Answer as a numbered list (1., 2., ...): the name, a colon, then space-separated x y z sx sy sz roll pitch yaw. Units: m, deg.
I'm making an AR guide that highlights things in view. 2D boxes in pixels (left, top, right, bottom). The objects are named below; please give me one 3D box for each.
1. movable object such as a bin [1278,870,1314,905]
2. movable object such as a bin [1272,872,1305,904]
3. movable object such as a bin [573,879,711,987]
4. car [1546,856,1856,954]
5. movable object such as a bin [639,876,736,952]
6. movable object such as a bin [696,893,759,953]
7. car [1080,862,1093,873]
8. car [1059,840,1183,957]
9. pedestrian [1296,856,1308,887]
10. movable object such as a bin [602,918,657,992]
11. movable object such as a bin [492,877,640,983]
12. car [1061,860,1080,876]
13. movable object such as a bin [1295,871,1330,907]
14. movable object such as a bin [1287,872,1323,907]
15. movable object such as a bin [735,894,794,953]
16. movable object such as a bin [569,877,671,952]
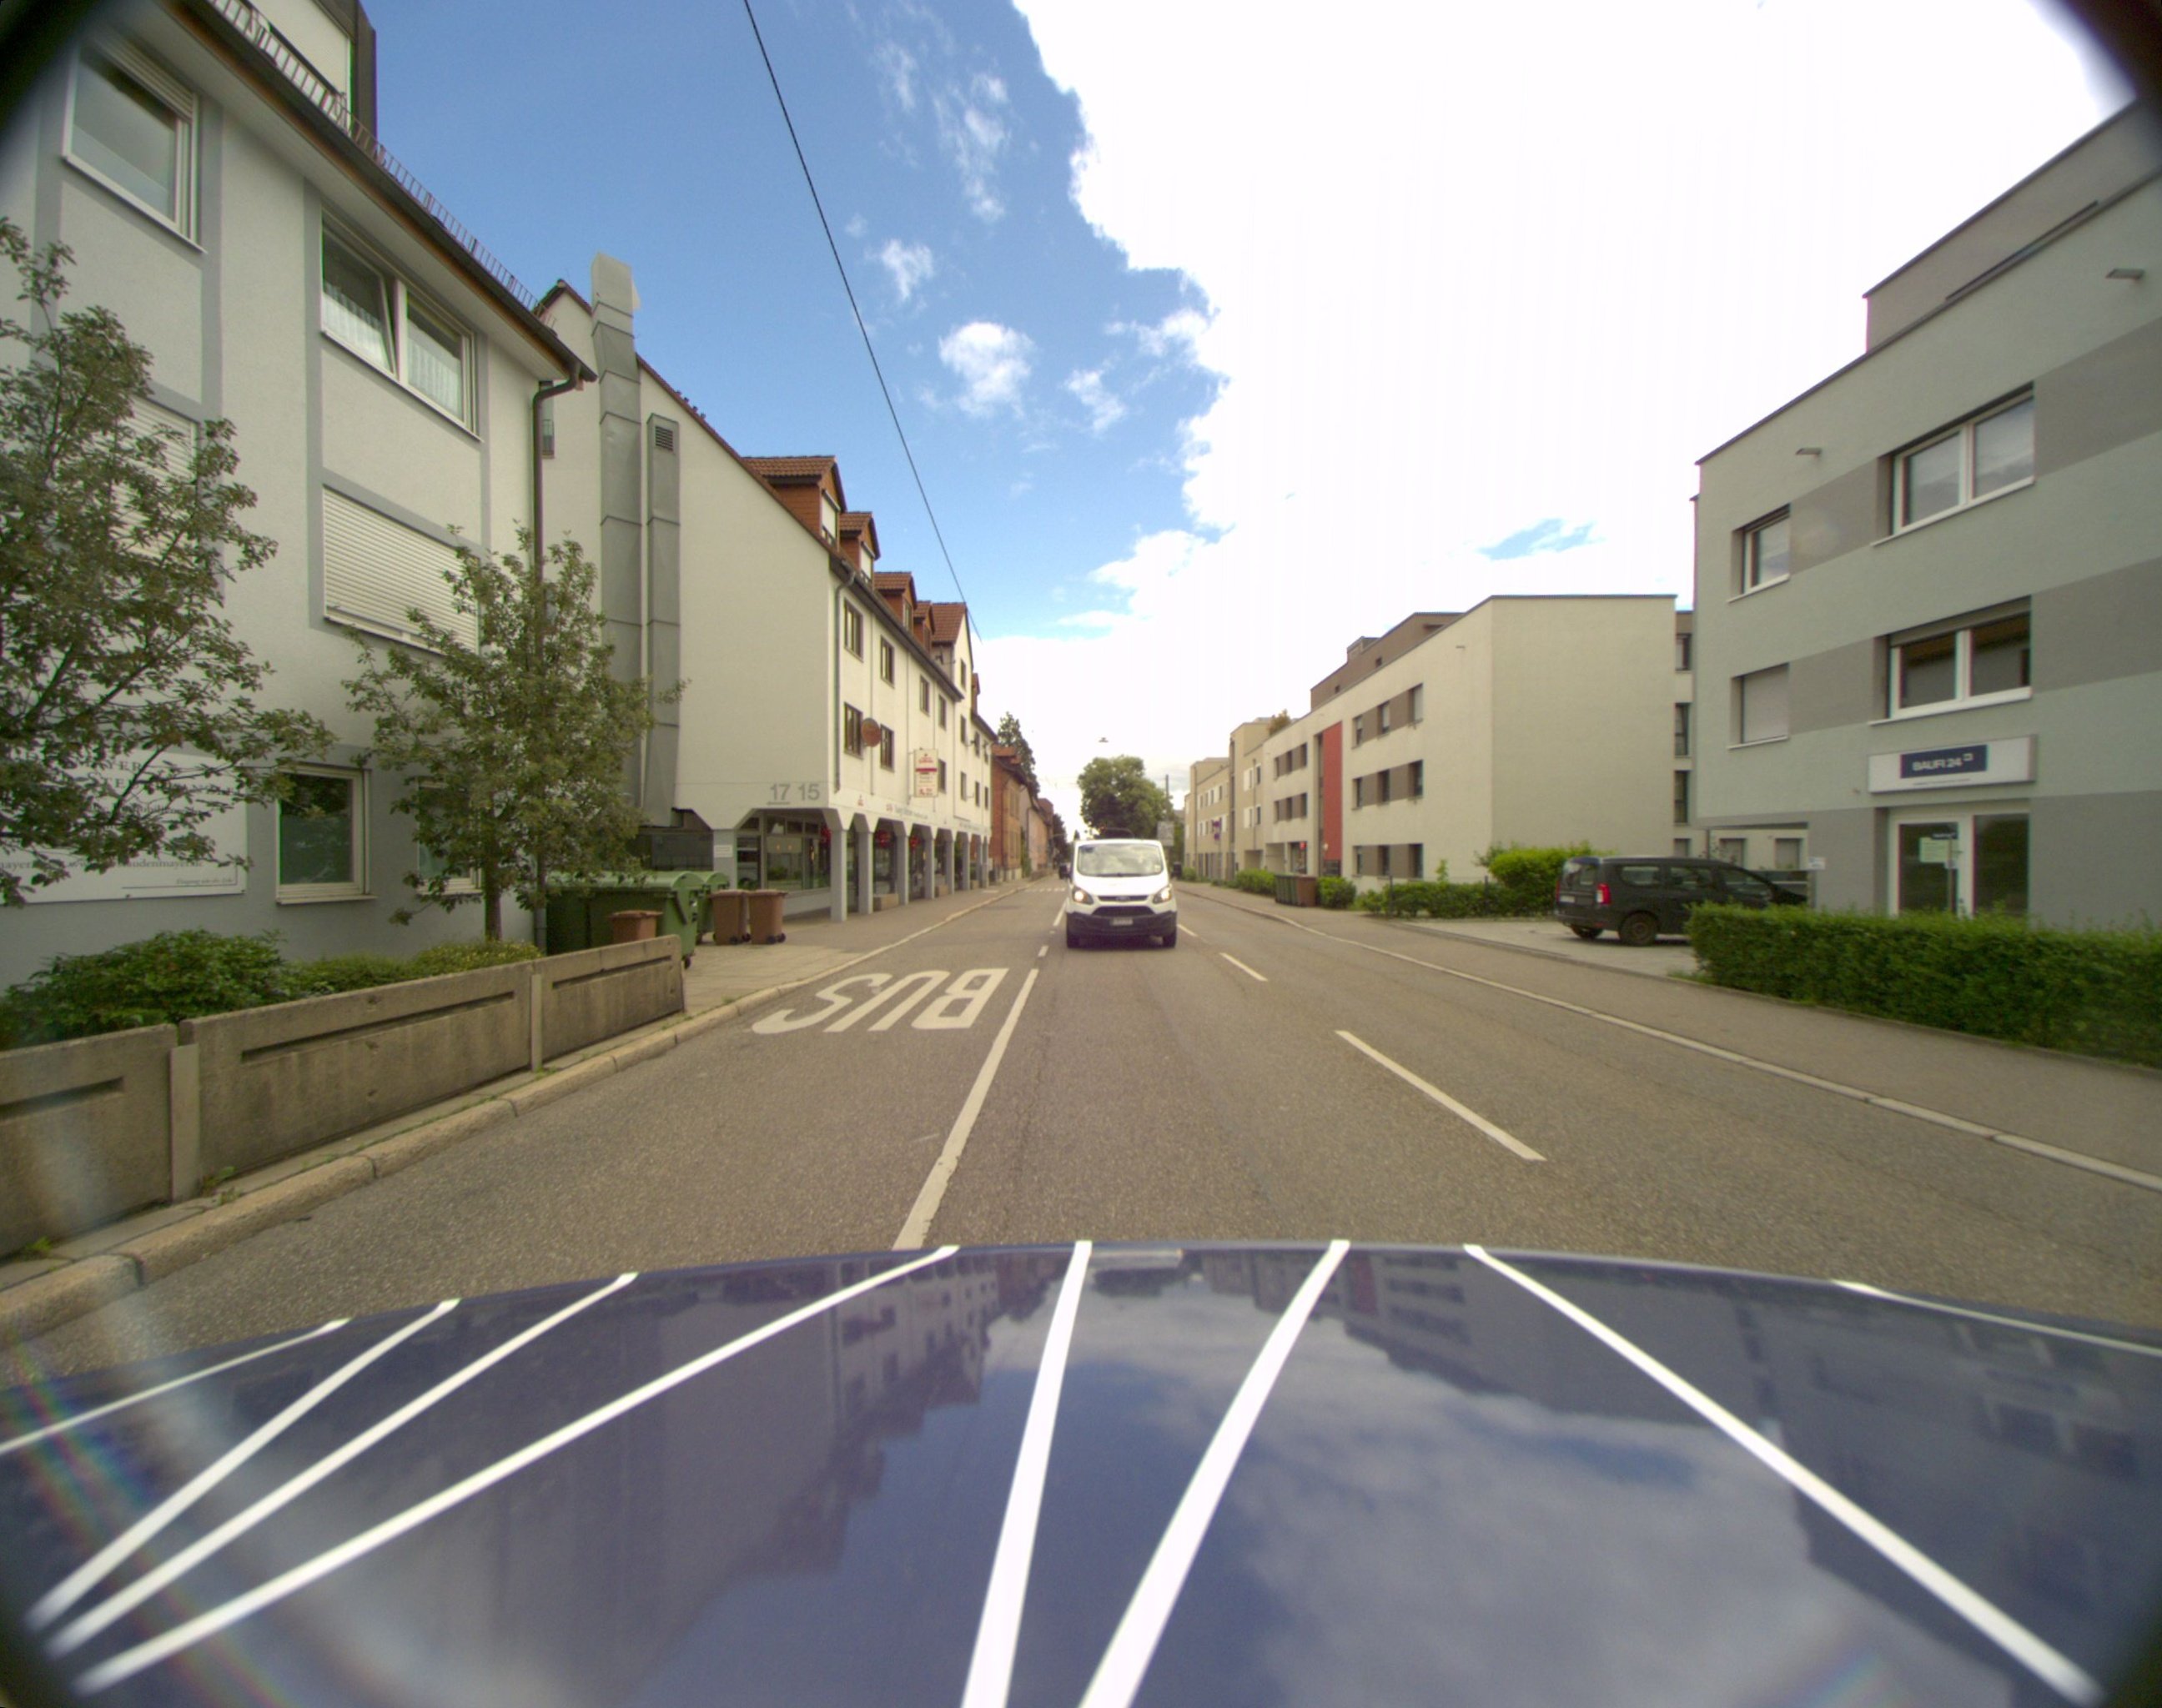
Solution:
1. movable object such as a bin: 7.431 1.152 26.276 0.959 1.144 0.840 0 0 -4
2. movable object such as a bin: 7.401 1.200 27.124 0.897 1.082 0.792 0 0 -4
3. movable object such as a bin: -6.193 1.087 10.817 1.270 1.409 1.162 0 0 1
4. car: 11.177 0.868 13.958 4.172 1.658 1.725 0 1 4
5. movable object such as a bin: -7.803 1.165 15.136 1.212 1.409 1.260 0 0 4
6. movable object such as a bin: -6.853 1.329 14.776 0.699 1.073 0.972 0 0 4
7. car: 0.796 1.823 107.260 1.755 1.485 3.986 0 0 0
8. car: 0.671 0.745 15.193 2.062 1.945 5.060 0 0 0
9. pedestrian: 11.539 0.910 39.642 0.519 1.633 0.641 0 0 24
10. movable object such as a bin: -5.934 1.315 10.002 0.431 0.915 0.465 0 0 1
11. movable object such as a bin: -7.545 1.081 11.227 1.270 1.426 1.307 0 0 1
12. car: -0.976 1.283 72.485 1.755 1.485 3.986 0 0 0
13. movable object such as a bin: 7.517 1.138 24.713 0.943 1.144 0.612 0 0 -4
14. movable object such as a bin: 7.488 1.172 25.414 0.951 1.144 0.749 0 0 -4
15. movable object such as a bin: -6.122 1.328 14.740 0.685 1.061 0.972 0 0 4
16. movable object such as a bin: -9.169 1.175 15.170 1.212 1.409 1.260 0 0 4
